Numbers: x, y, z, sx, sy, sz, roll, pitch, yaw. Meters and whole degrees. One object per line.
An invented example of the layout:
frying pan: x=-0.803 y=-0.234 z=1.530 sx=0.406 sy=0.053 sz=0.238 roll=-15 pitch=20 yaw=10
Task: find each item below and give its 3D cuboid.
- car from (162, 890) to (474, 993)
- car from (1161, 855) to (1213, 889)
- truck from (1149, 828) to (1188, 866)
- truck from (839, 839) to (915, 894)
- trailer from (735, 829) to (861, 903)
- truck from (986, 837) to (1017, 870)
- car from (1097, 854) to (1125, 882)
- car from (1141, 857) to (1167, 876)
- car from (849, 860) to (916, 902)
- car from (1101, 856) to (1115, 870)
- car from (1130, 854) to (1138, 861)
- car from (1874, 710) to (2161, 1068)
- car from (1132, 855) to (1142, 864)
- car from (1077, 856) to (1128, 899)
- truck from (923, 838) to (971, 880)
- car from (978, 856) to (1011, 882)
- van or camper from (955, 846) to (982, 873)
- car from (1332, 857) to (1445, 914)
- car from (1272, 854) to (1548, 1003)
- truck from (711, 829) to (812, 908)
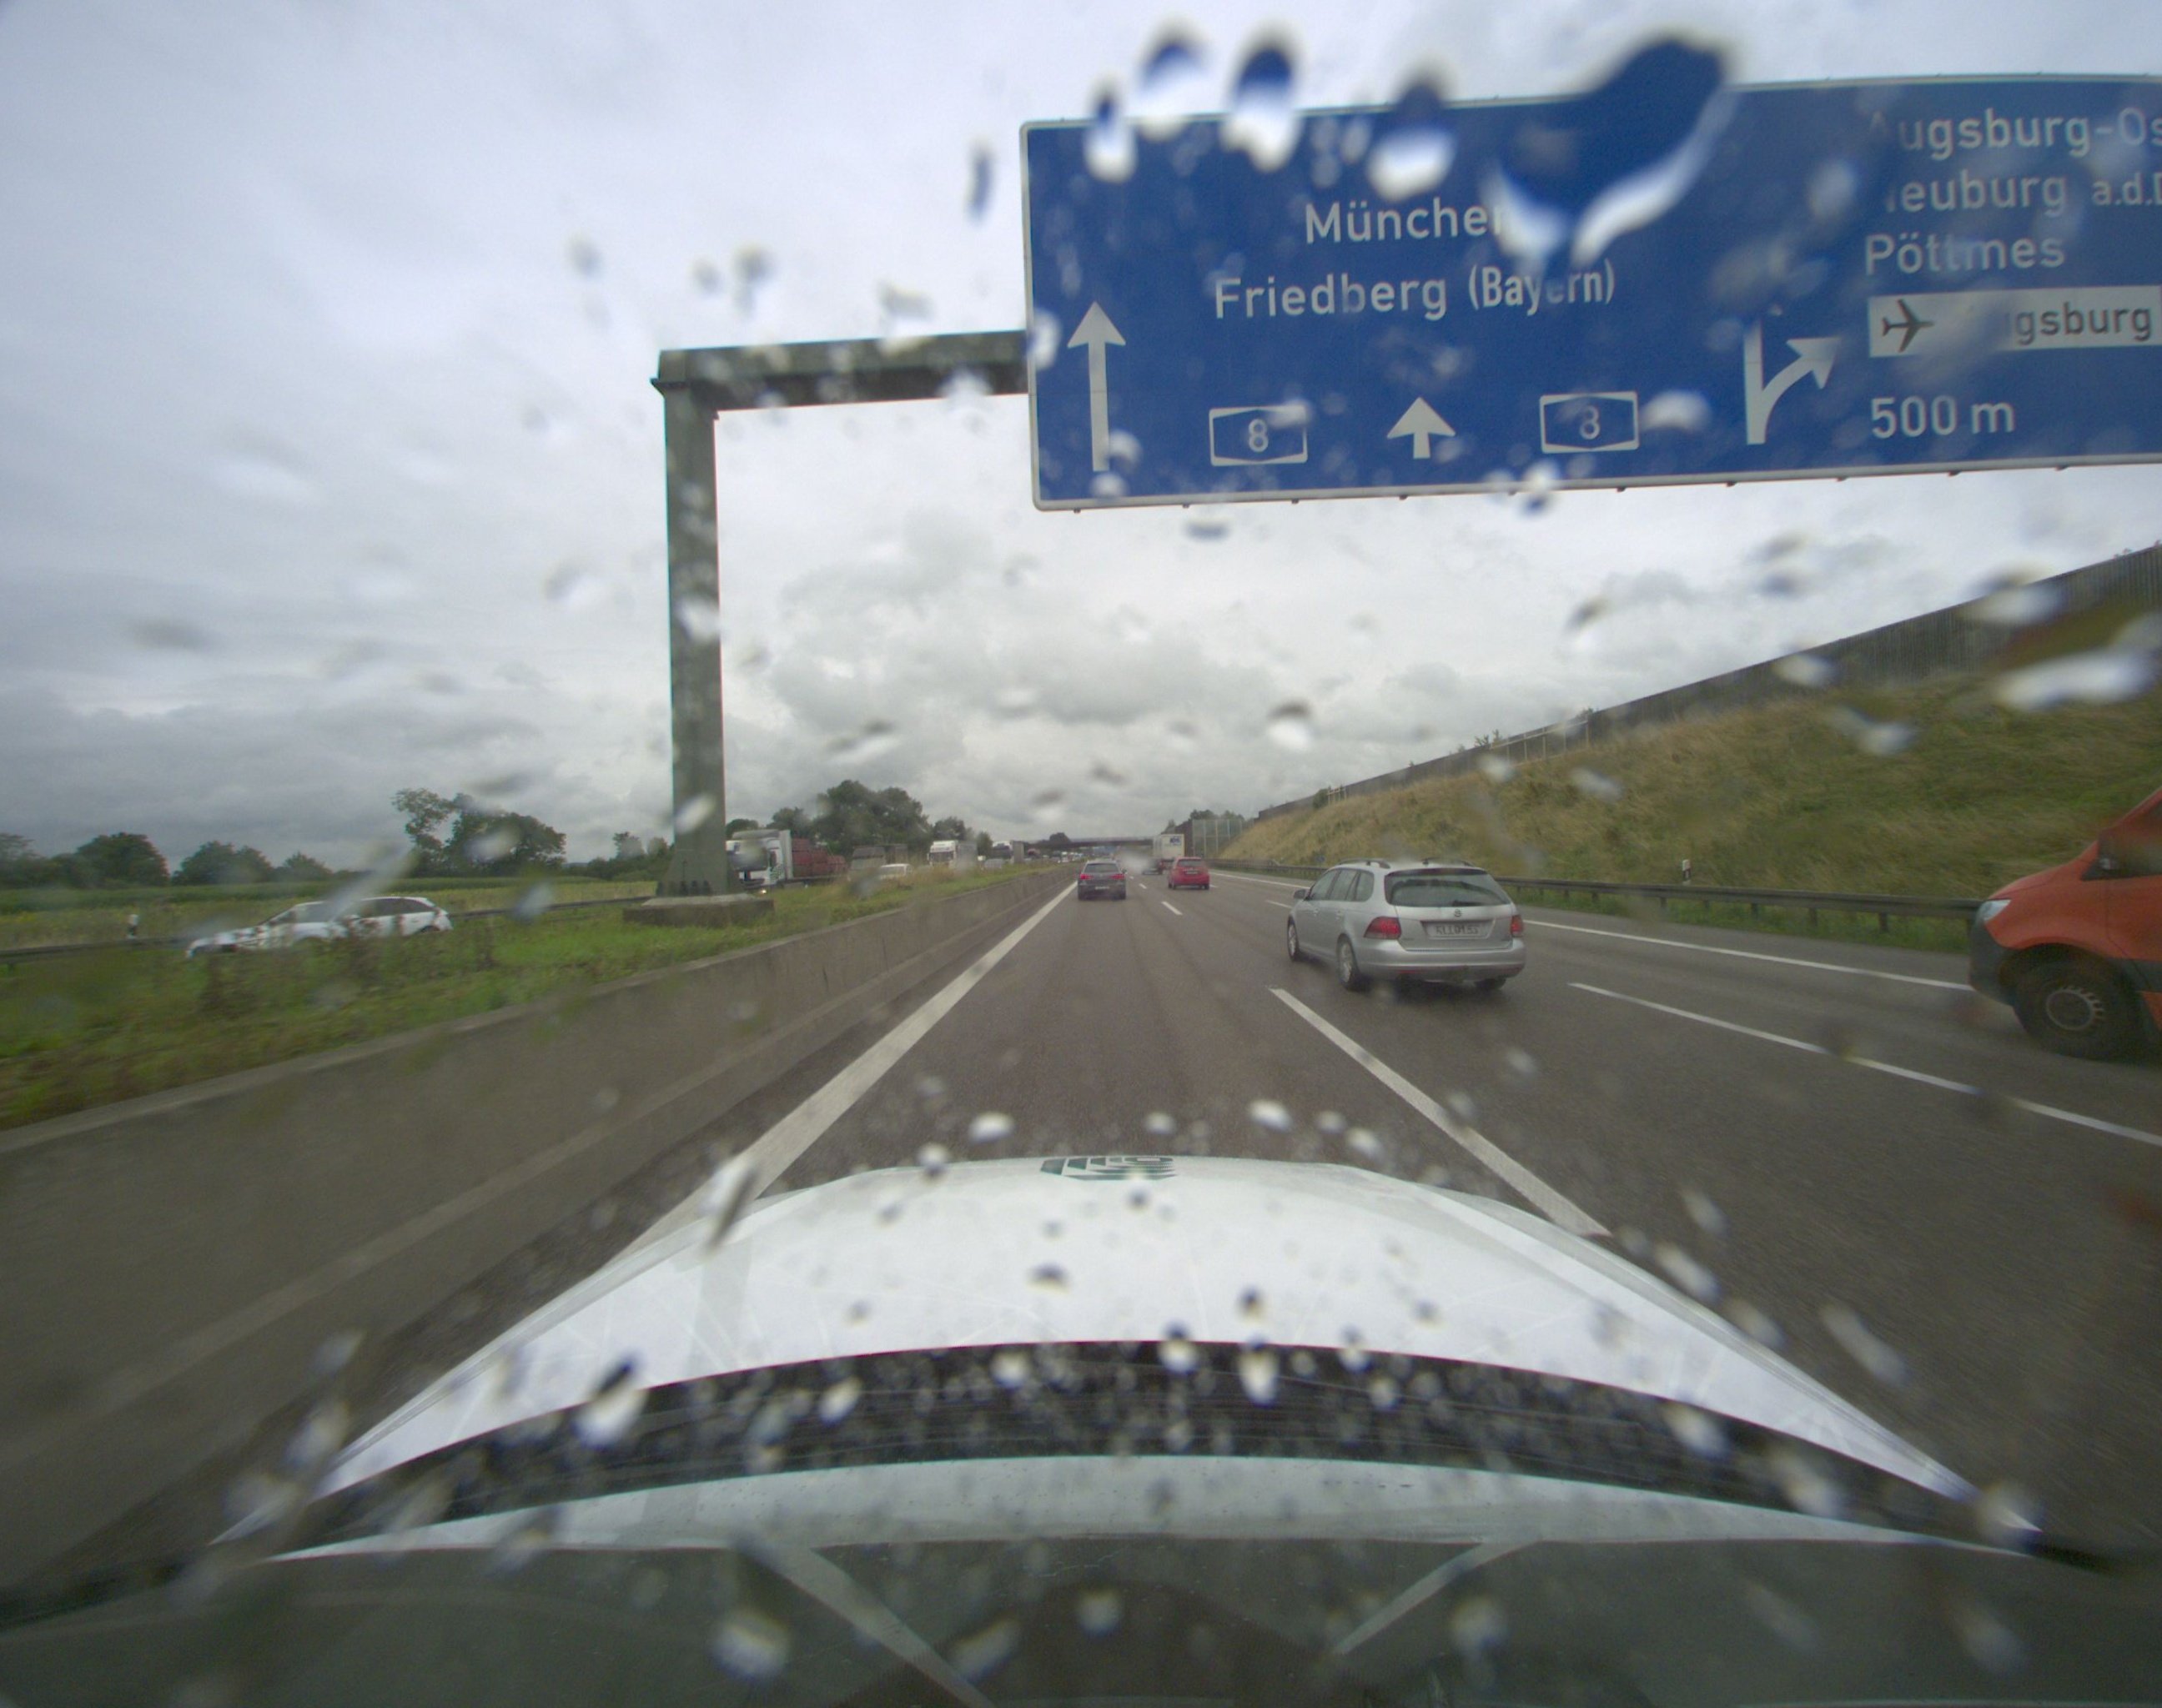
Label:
car: x=-15.864 y=1.720 z=17.426 sx=1.986 sy=1.717 sz=4.839 roll=0 pitch=-1 yaw=2
car: x=4.977 y=0.809 z=38.728 sx=1.884 sy=1.446 sz=4.685 roll=-1 pitch=0 yaw=1
truck: x=10.675 y=-0.703 z=101.469 sx=3.271 sy=4.295 sz=19.037 roll=0 pitch=-1 yaw=1
truck: x=-11.694 y=0.721 z=47.275 sx=2.303 sy=2.908 sz=7.427 roll=0 pitch=-1 yaw=2
trailer: x=-15.899 y=0.528 z=47.141 sx=2.631 sy=3.725 sz=12.199 roll=0 pitch=1 yaw=2
truck: x=-9.891 y=0.015 z=101.830 sx=3.081 sy=3.976 sz=6.374 roll=0 pitch=-1 yaw=2
car: x=2.070 y=0.949 z=56.618 sx=1.819 sy=1.850 sz=4.001 roll=-2 pitch=0 yaw=1
car: x=6.246 y=1.030 z=69.891 sx=1.914 sy=1.522 sz=4.623 roll=-1 pitch=0 yaw=1
car: x=-8.542 y=1.143 z=35.340 sx=1.774 sy=1.717 sz=4.001 roll=0 pitch=-1 yaw=2
car: x=3.612 y=1.225 z=110.990 sx=1.699 sy=1.796 sz=3.854 roll=-3 pitch=0 yaw=0
car: x=14.649 y=1.002 z=226.776 sx=1.986 sy=1.812 sz=4.229 roll=-3 pitch=0 yaw=2
car: x=7.984 y=0.208 z=4.089 sx=2.078 sy=2.315 sz=6.183 roll=-1 pitch=0 yaw=2
car: x=11.120 y=1.091 z=161.834 sx=1.839 sy=1.687 sz=4.000 roll=0 pitch=-1 yaw=1
car: x=0.751 y=0.841 z=30.348 sx=1.763 sy=1.467 sz=3.999 roll=0 pitch=-1 yaw=0
truck: x=-14.223 y=0.536 z=87.142 sx=3.602 sy=4.275 sz=7.594 roll=0 pitch=-1 yaw=2
car: x=-7.096 y=1.227 z=67.440 sx=1.986 sy=2.013 sz=4.802 roll=-2 pitch=0 yaw=2
van or camper: x=-15.508 y=0.786 z=112.824 sx=2.700 sy=3.503 sz=7.697 roll=0 pitch=-1 yaw=0
car: x=8.236 y=0.802 z=22.176 sx=1.696 sy=1.401 sz=3.876 roll=0 pitch=-1 yaw=1
car: x=3.779 y=0.744 z=10.317 sx=1.735 sy=1.425 sz=4.518 roll=-2 pitch=0 yaw=1
truck: x=-16.078 y=0.635 z=41.499 sx=2.631 sy=3.725 sz=5.874 roll=0 pitch=1 yaw=2
